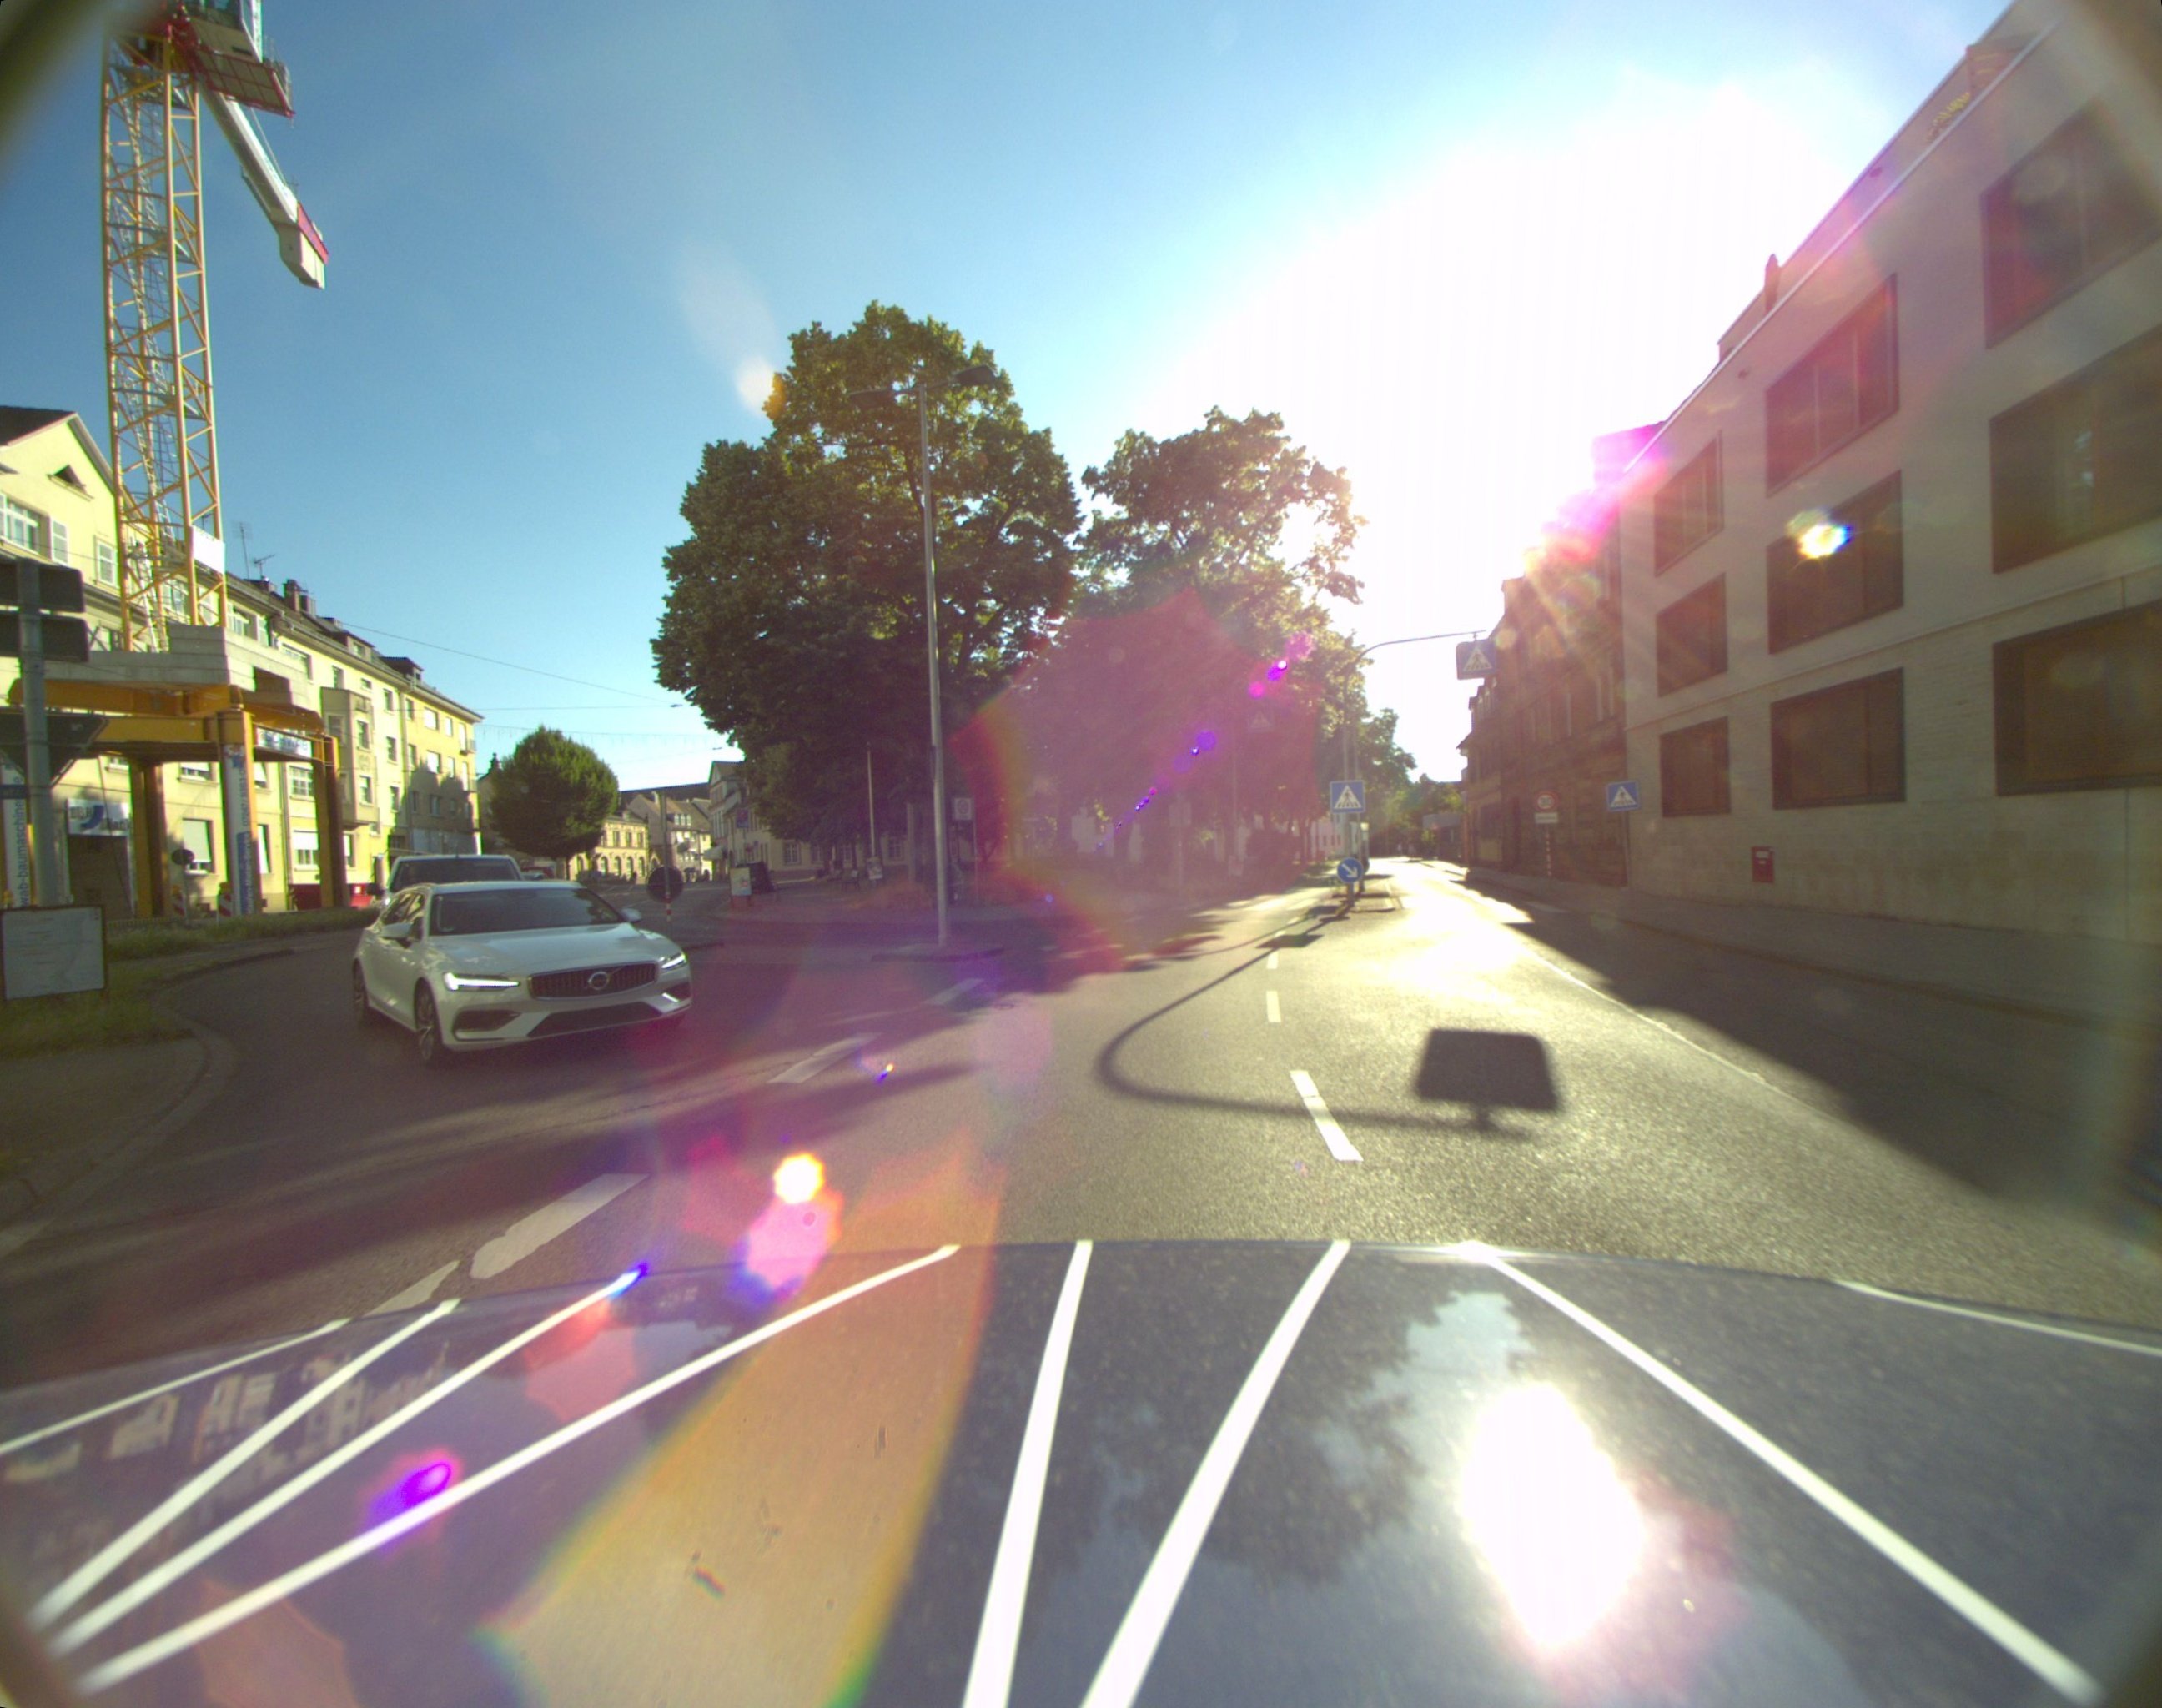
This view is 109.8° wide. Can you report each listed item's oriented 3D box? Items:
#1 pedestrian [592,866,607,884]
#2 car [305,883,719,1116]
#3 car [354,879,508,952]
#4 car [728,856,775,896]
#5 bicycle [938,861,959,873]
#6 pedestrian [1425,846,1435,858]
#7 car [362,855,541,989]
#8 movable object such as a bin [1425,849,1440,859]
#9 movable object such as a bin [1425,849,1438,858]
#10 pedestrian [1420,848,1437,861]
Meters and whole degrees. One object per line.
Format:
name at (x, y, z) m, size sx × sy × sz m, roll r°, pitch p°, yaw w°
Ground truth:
pedestrian at (-54.782, 2.369, 86.390) m, size 1.358 × 2.002 × 1.156 m, roll -2°, pitch 1°, yaw -31°
car at (-5.586, 1.071, 7.209) m, size 4.759 × 1.455 × 1.858 m, roll -2°, pitch 0°, yaw 37°
car at (-15.431, 1.365, 18.309) m, size 2.003 × 1.436 × 4.063 m, roll -2°, pitch 0°, yaw -29°
car at (-16.756, 1.064, 38.769) m, size 2.002 × 1.783 × 3.992 m, roll -4°, pitch 1°, yaw -22°
bicycle at (-12.458, 1.225, 71.401) m, size 1.765 × 1.026 × 0.721 m, roll -1°, pitch 1°, yaw -18°
pedestrian at (37.843, -0.208, 82.429) m, size 0.742 × 1.178 × 0.841 m, roll -4°, pitch 0°, yaw 14°
car at (-10.922, 1.022, 13.188) m, size 2.004 × 1.843 × 4.889 m, roll -2°, pitch 0°, yaw -41°
movable object such as a bin at (35.235, -0.005, 76.244) m, size 0.842 × 0.923 × 1.036 m, roll -4°, pitch 0°, yaw -35°
movable object such as a bin at (38.015, -0.091, 82.379) m, size 1.036 × 0.923 × 0.841 m, roll -4°, pitch 0°, yaw 14°
pedestrian at (35.009, 0.012, 76.580) m, size 0.842 × 1.222 × 1.155 m, roll -4°, pitch 0°, yaw -35°
